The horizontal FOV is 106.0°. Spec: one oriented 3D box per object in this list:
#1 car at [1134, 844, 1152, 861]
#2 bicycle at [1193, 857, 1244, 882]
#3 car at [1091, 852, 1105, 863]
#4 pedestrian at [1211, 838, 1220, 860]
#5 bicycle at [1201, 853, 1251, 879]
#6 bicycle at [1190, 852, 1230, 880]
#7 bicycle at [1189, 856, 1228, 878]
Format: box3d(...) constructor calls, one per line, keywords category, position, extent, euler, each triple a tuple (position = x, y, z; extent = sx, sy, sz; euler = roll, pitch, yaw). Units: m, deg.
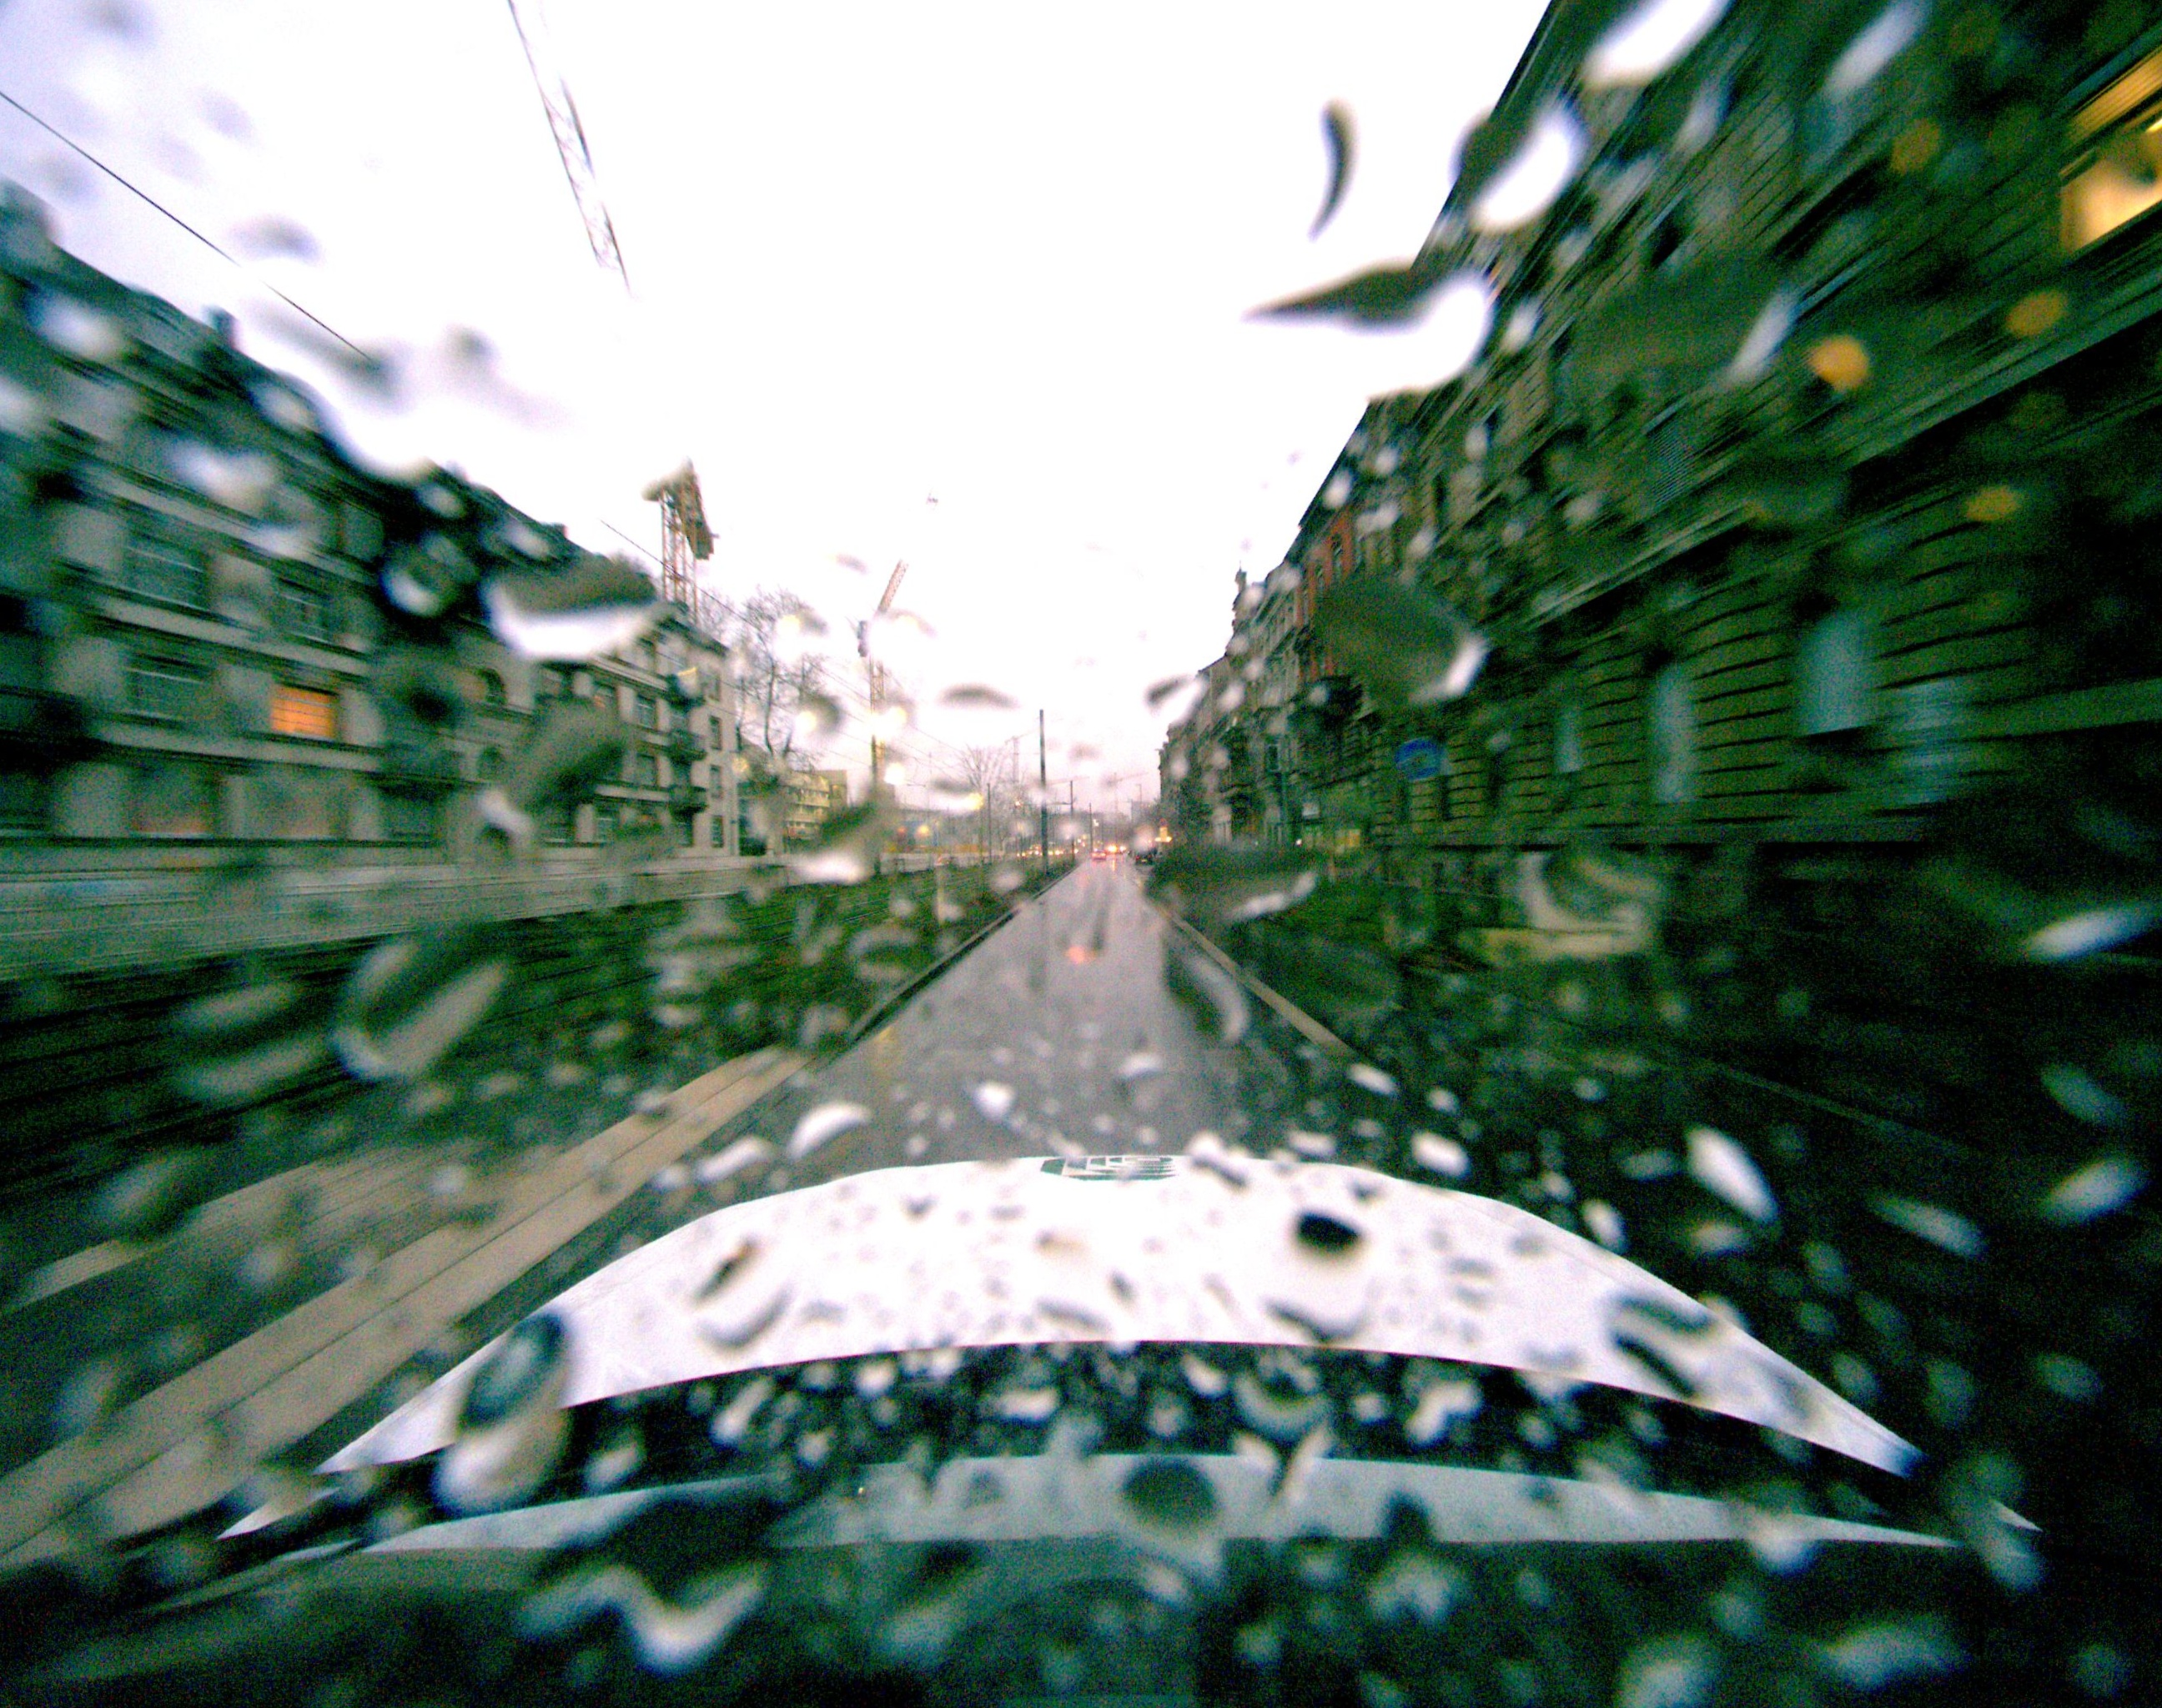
box3d(category="car", position=(6.324, -0.176, 83.113), extent=(1.791, 1.604, 3.774), euler=(-2, 0, 4))
box3d(category="bicycle", position=(6.362, 0.704, 37.809), extent=(2.242, 1.057, 0.525), euler=(-2, 0, -1))
box3d(category="car", position=(2.266, 0.458, 110.323), extent=(1.777, 1.467, 3.151), euler=(-2, 0, 3))
box3d(category="pedestrian", position=(10.773, -0.402, 65.402), extent=(0.600, 1.785, 0.528), euler=(-2, 0, 1))
box3d(category="bicycle", position=(6.516, 0.544, 36.631), extent=(2.143, 1.057, 0.525), euler=(-2, 0, -5))
box3d(category="bicycle", position=(6.142, 0.574, 38.810), extent=(1.846, 1.290, 0.415), euler=(-2, 0, -2))
box3d(category="bicycle", position=(6.317, 0.638, 40.411), extent=(1.846, 1.058, 0.471), euler=(-2, 0, -2))
